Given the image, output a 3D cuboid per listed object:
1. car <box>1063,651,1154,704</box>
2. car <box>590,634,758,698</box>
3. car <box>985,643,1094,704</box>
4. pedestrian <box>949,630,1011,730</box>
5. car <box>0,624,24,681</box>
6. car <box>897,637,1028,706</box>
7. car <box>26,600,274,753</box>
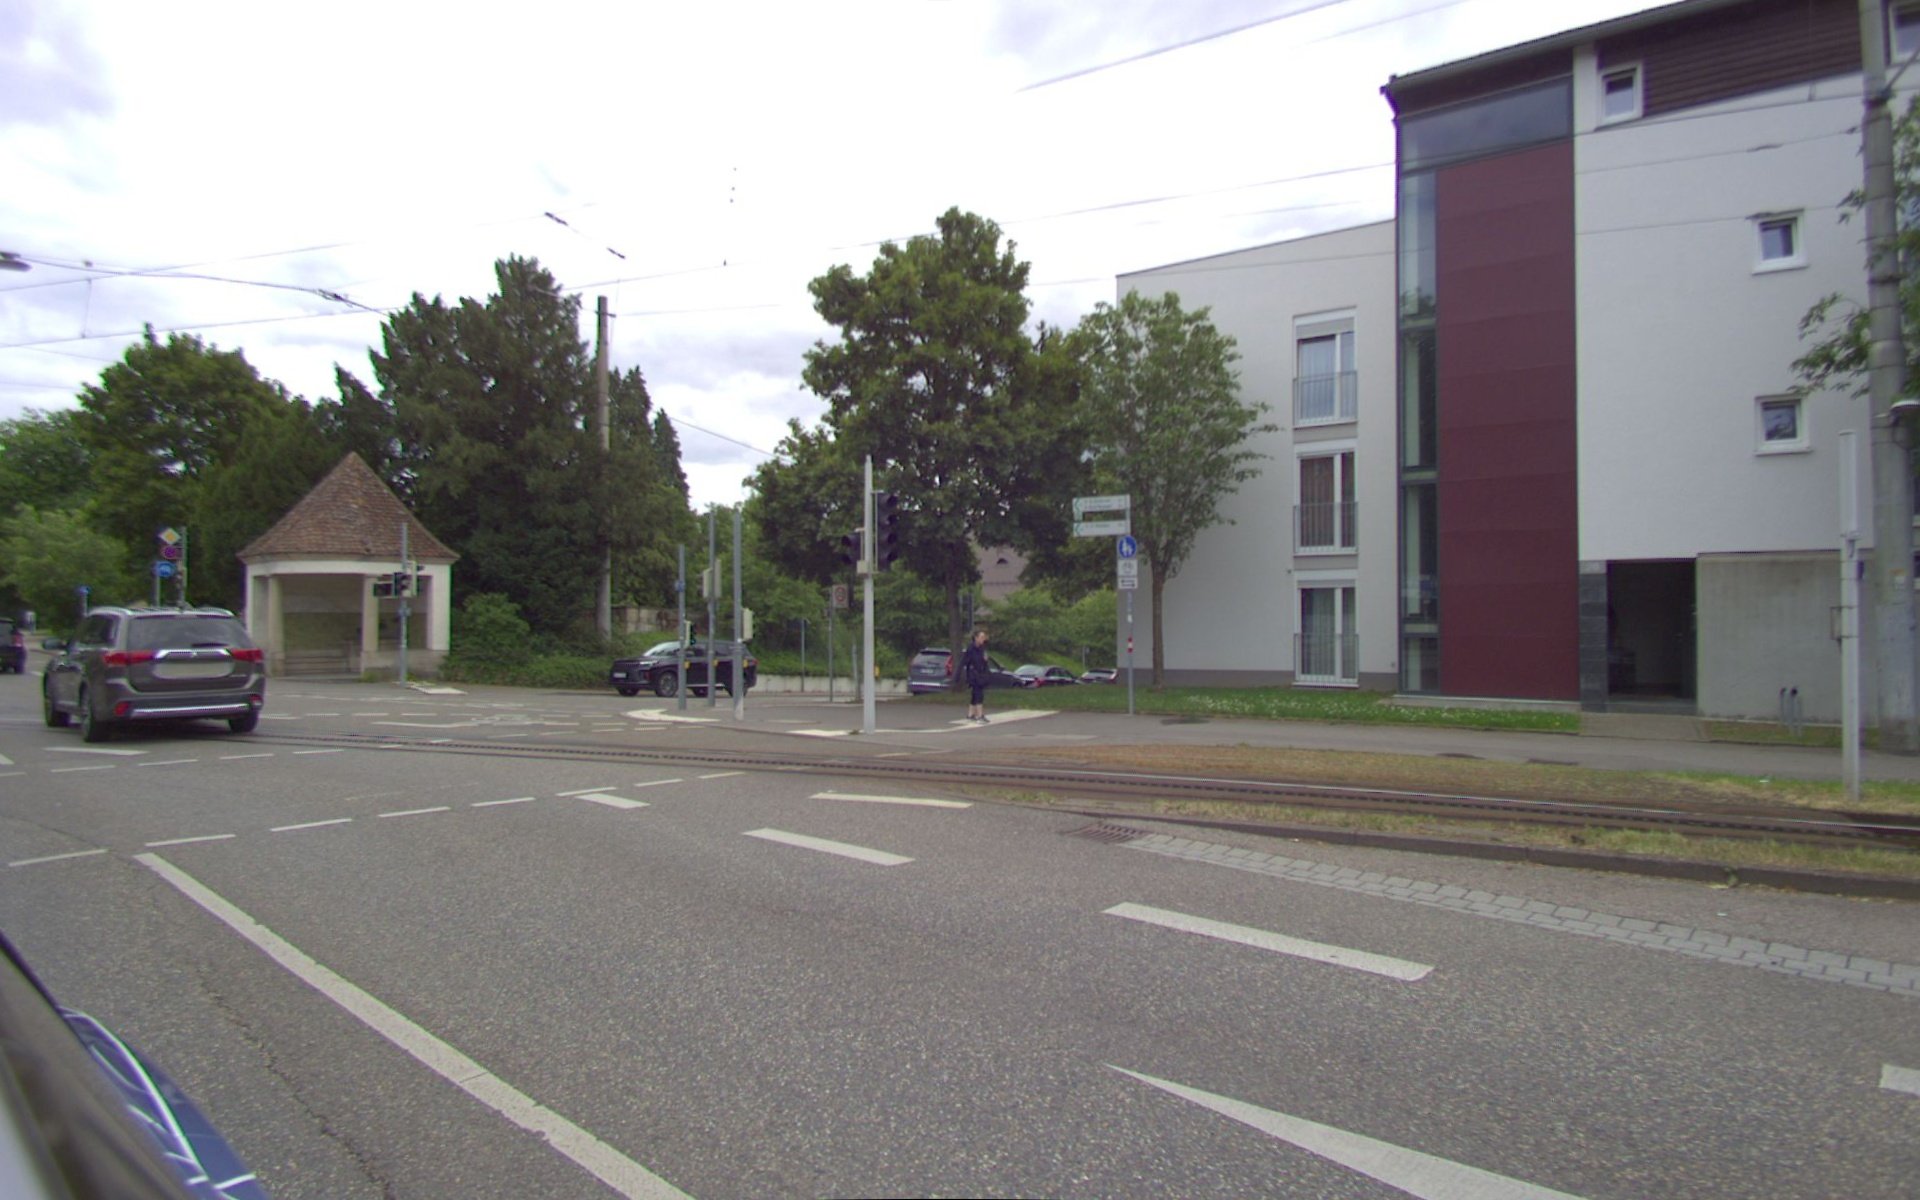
[{"bbox_3d":[6.217,3.206,41.990,1.996,2.029,4.416,-1,-4,35],"label":"car"},{"bbox_3d":[-8.173,1.946,29.343,1.961,1.682,4.436,-1,-5,34],"label":"car"},{"bbox_3d":[2.953,2.651,36.863,1.996,2.029,4.416,-1,-4,35],"label":"car"},{"bbox_3d":[0.346,1.362,17.358,0.817,1.657,0.669,-3,-4,36],"label":"pedestrian"},{"bbox_3d":[-27.294,1.400,27.929,3.730,1.517,1.658,-1,-4,40],"label":"car"},{"bbox_3d":[0.159,2.340,32.467,1.996,2.029,4.416,-1,-5,35],"label":"car"},{"bbox_3d":[-11.094,0.894,13.739,4.486,1.682,1.811,-1,2,41],"label":"car"}]
